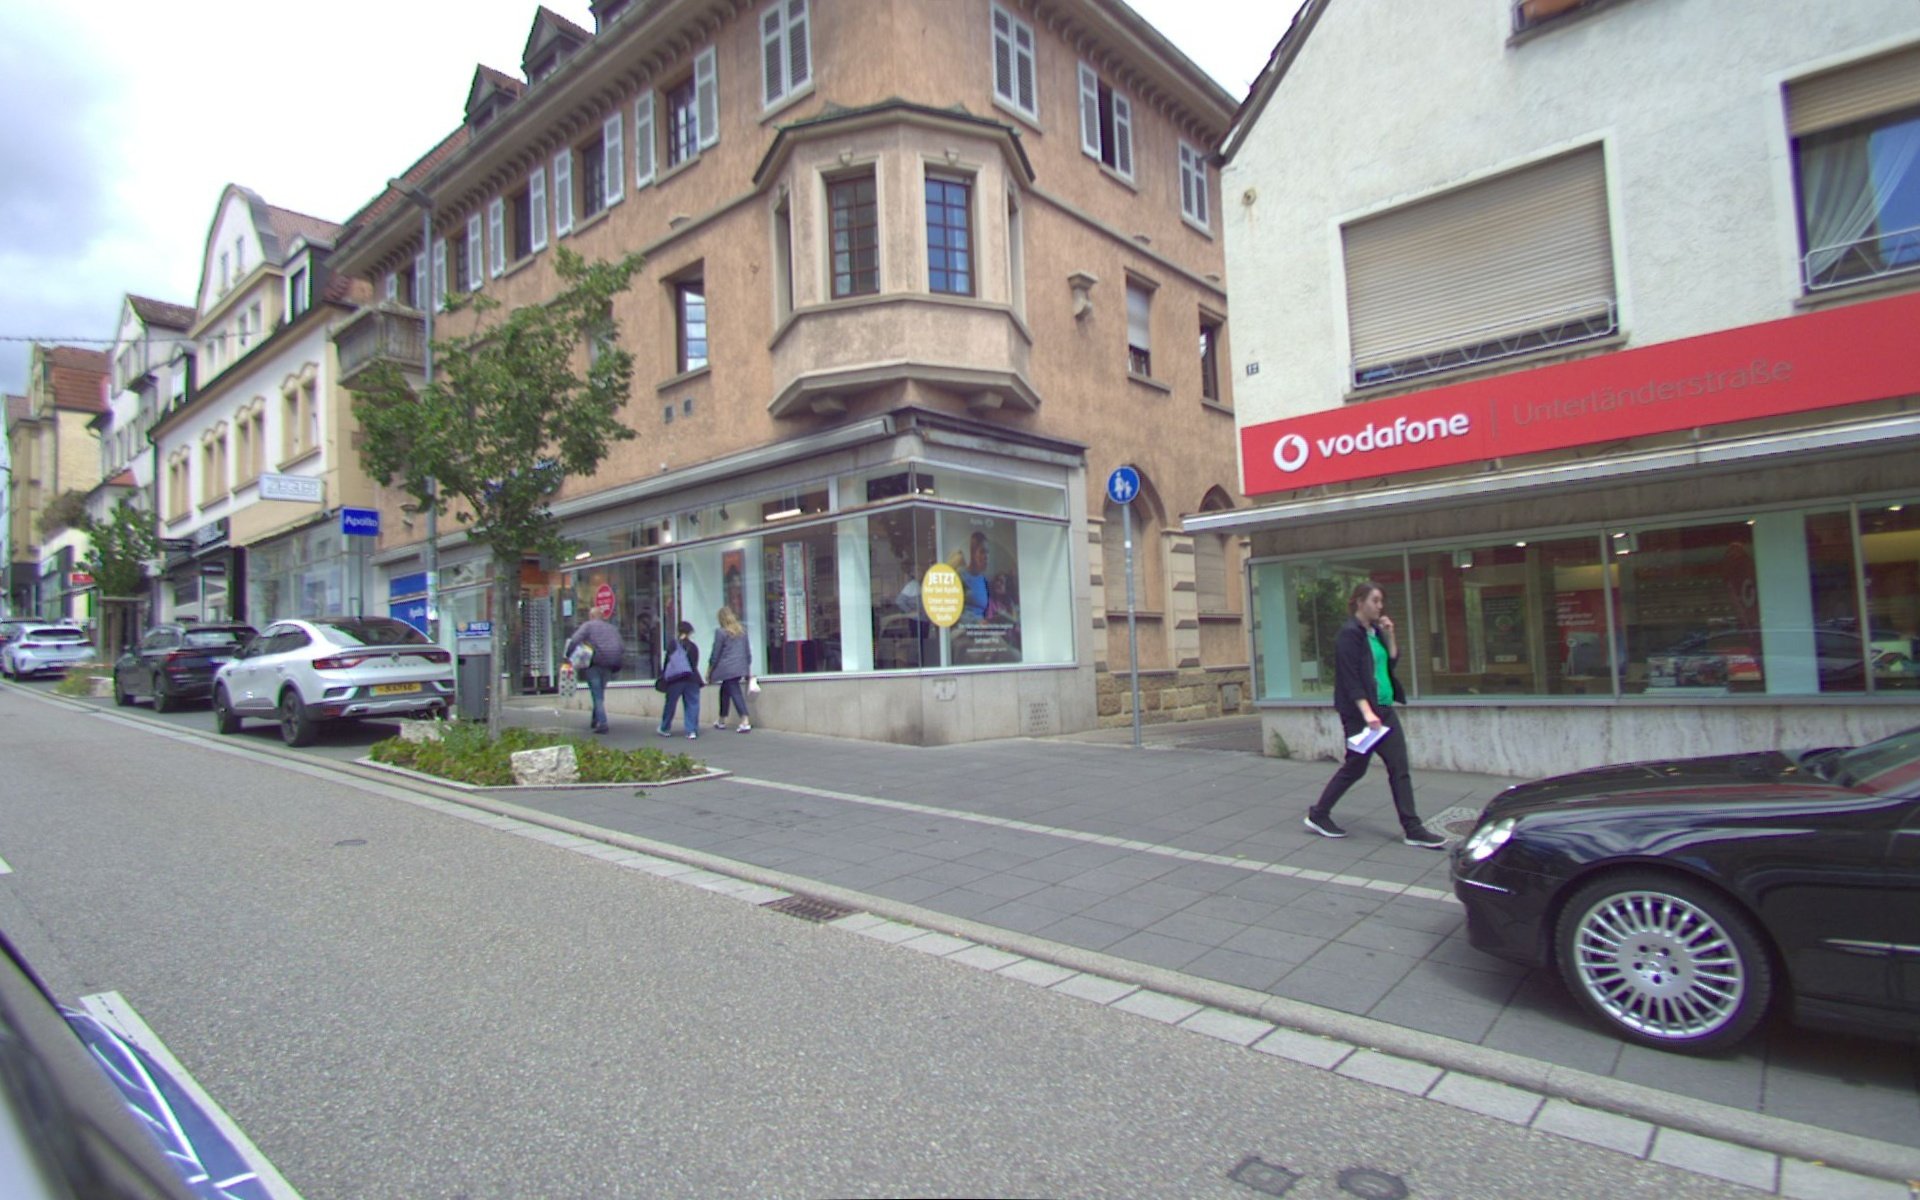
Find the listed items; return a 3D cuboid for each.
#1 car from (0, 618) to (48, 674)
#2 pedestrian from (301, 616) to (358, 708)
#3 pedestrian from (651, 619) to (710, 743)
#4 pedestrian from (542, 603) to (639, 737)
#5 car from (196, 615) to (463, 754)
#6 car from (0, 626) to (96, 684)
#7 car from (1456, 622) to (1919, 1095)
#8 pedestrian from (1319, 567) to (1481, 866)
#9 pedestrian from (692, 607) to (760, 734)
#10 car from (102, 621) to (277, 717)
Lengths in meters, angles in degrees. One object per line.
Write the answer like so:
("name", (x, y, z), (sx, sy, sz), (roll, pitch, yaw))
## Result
("car", (-30.325, 1.413, 32.015), (3.990, 1.692, 1.710), (-1, -2, 41))
("pedestrian", (-11.299, 1.097, 18.144), (0.650, 1.585, 0.621), (-2, 1, 40))
("pedestrian", (-3.468, 0.984, 12.572), (0.528, 1.489, 0.491), (-1, -2, 39))
("pedestrian", (-4.860, 0.893, 13.308), (0.905, 1.679, 0.862), (-1, -1, 39))
("car", (-8.600, 1.007, 13.652), (4.450, 1.585, 1.708), (-1, -1, 39))
("car", (-24.698, 1.428, 27.214), (3.501, 1.442, 1.710), (-1, -2, 41))
("car", (4.112, 0.767, 3.025), (4.442, 1.403, 1.639), (-2, -2, 42))
("pedestrian", (2.834, 0.697, 6.516), (0.777, 1.774, 0.653), (-1, -2, 41))
("pedestrian", (-3.031, 0.889, 13.119), (0.641, 1.594, 0.607), (-1, -2, 39))
("car", (-14.194, 1.181, 18.576), (3.959, 1.537, 1.648), (-1, 0, 39))
